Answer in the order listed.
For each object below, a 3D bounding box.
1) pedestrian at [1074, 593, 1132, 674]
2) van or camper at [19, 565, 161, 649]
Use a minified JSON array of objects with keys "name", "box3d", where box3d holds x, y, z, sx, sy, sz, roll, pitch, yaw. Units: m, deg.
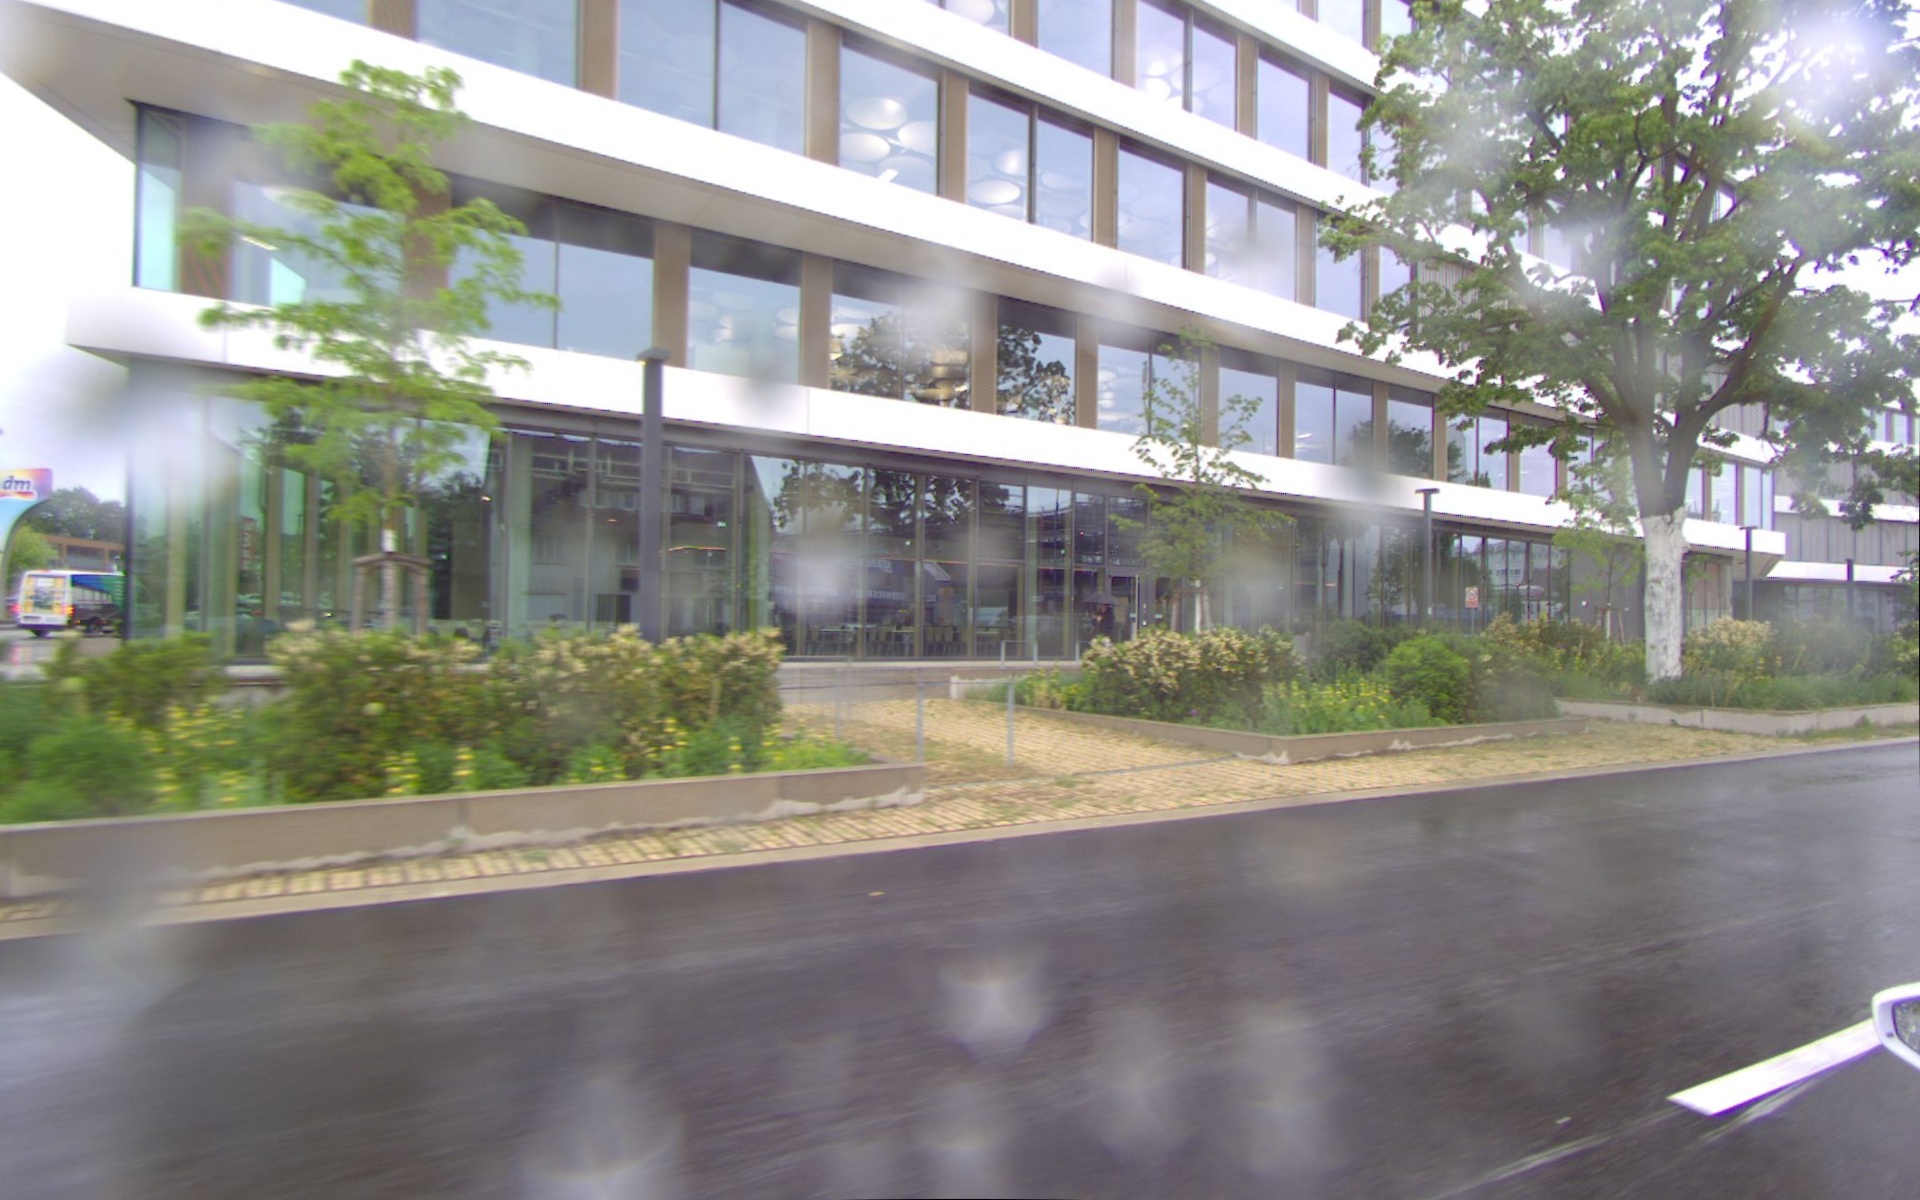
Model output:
[{"name":"pedestrian","box3d":[3.195,0.737,22.480,0.944,1.726,0.721,3,1,-28]},{"name":"van or camper","box3d":[-34.856,0.244,40.466,1.964,3.129,5.092,1,1,-10]}]
